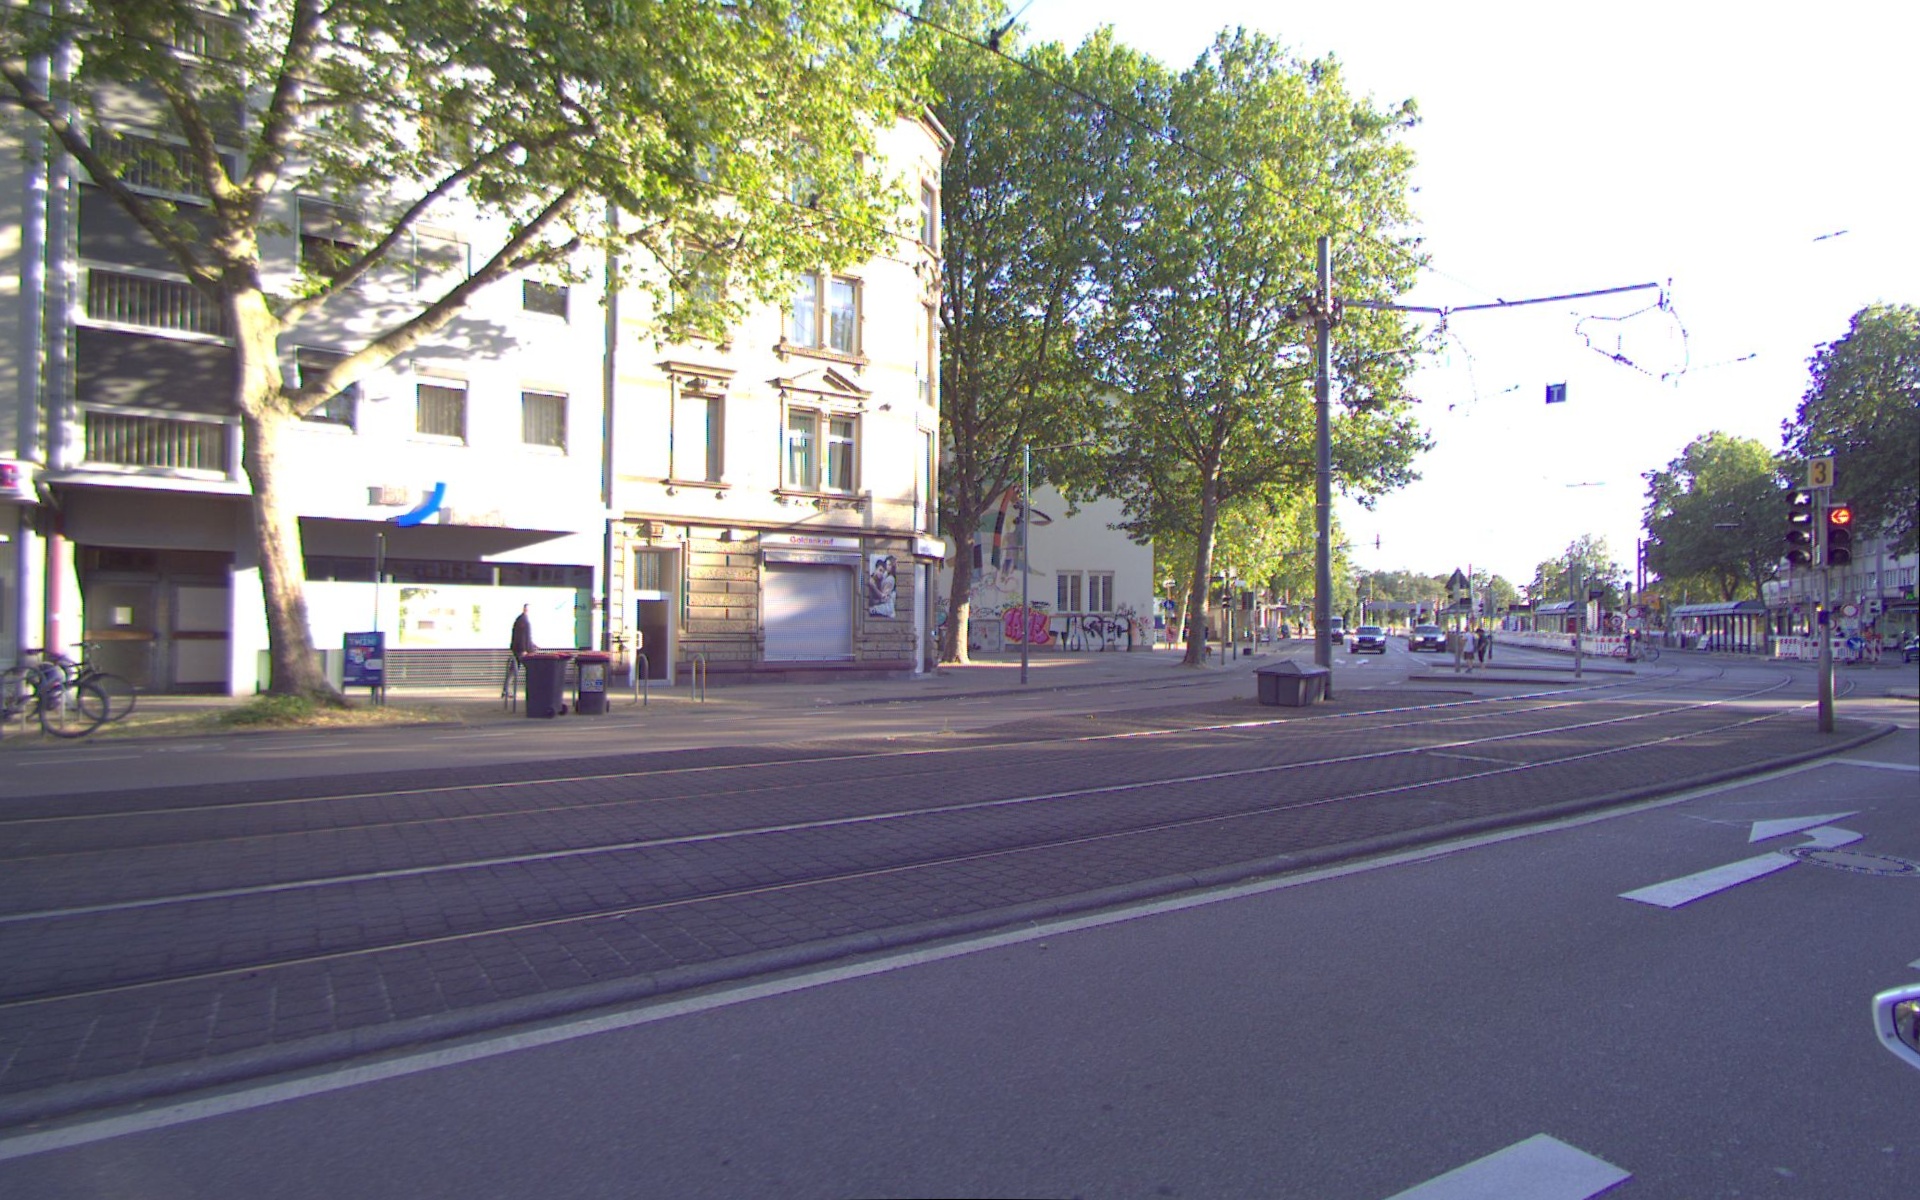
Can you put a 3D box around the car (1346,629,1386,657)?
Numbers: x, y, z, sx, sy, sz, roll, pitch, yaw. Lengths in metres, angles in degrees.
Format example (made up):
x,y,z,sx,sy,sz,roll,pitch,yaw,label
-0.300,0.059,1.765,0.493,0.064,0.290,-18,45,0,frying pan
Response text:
x,y,z,sx,sy,sz,roll,pitch,yaw,label
23.199,2.406,57.298,1.856,1.492,4.203,0,-1,25,car

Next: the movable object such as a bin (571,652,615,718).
x,y,z,sx,sy,sz,roll,pitch,yaw,label
-6.292,1.447,17.234,0.562,1.108,0.477,0,-1,7,movable object such as a bin

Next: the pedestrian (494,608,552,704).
x,y,z,sx,sy,sz,roll,pitch,yaw,label
-8.468,1.070,19.471,0.959,1.811,0.616,1,1,-29,pedestrian

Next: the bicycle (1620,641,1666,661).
x,y,z,sx,sy,sz,roll,pitch,yaw,label
33.584,2.501,49.425,1.810,0.955,0.463,0,-1,21,bicycle

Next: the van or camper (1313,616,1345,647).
x,y,z,sx,sy,sz,roll,pitch,yaw,label
29.502,2.501,80.167,2.132,2.349,5.102,-2,-2,23,van or camper

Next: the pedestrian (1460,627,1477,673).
x,y,z,sx,sy,sz,roll,pitch,yaw,label
17.006,1.654,33.604,0.512,1.524,0.593,0,-1,28,pedestrian

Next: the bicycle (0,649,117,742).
x,y,z,sx,sy,sz,roll,pitch,yaw,label
-12.023,1.207,12.793,1.890,1.139,0.505,1,0,-32,bicycle

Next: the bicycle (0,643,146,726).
x,y,z,sx,sy,sz,roll,pitch,yaw,label
-13.116,1.206,14.624,1.890,1.139,0.505,1,0,-32,bicycle

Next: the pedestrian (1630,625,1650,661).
x,y,z,sx,sy,sz,roll,pitch,yaw,label
33.222,2.103,49.058,0.708,1.748,0.399,0,-1,20,pedestrian

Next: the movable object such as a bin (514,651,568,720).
x,y,z,sx,sy,sz,roll,pitch,yaw,label
-6.928,1.412,16.639,0.634,1.108,0.546,0,-1,7,movable object such as a bin

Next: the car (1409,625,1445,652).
x,y,z,sx,sy,sz,roll,pitch,yaw,label
28.566,2.345,61.527,1.856,1.606,4.205,0,-1,23,car

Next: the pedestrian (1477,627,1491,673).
x,y,z,sx,sy,sz,roll,pitch,yaw,label
17.584,1.674,33.717,0.402,1.524,0.516,0,-1,28,pedestrian

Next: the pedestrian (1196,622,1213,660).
x,y,z,sx,sy,sz,roll,pitch,yaw,label
11.300,1.889,46.457,0.663,1.733,0.432,2,1,4,pedestrian
